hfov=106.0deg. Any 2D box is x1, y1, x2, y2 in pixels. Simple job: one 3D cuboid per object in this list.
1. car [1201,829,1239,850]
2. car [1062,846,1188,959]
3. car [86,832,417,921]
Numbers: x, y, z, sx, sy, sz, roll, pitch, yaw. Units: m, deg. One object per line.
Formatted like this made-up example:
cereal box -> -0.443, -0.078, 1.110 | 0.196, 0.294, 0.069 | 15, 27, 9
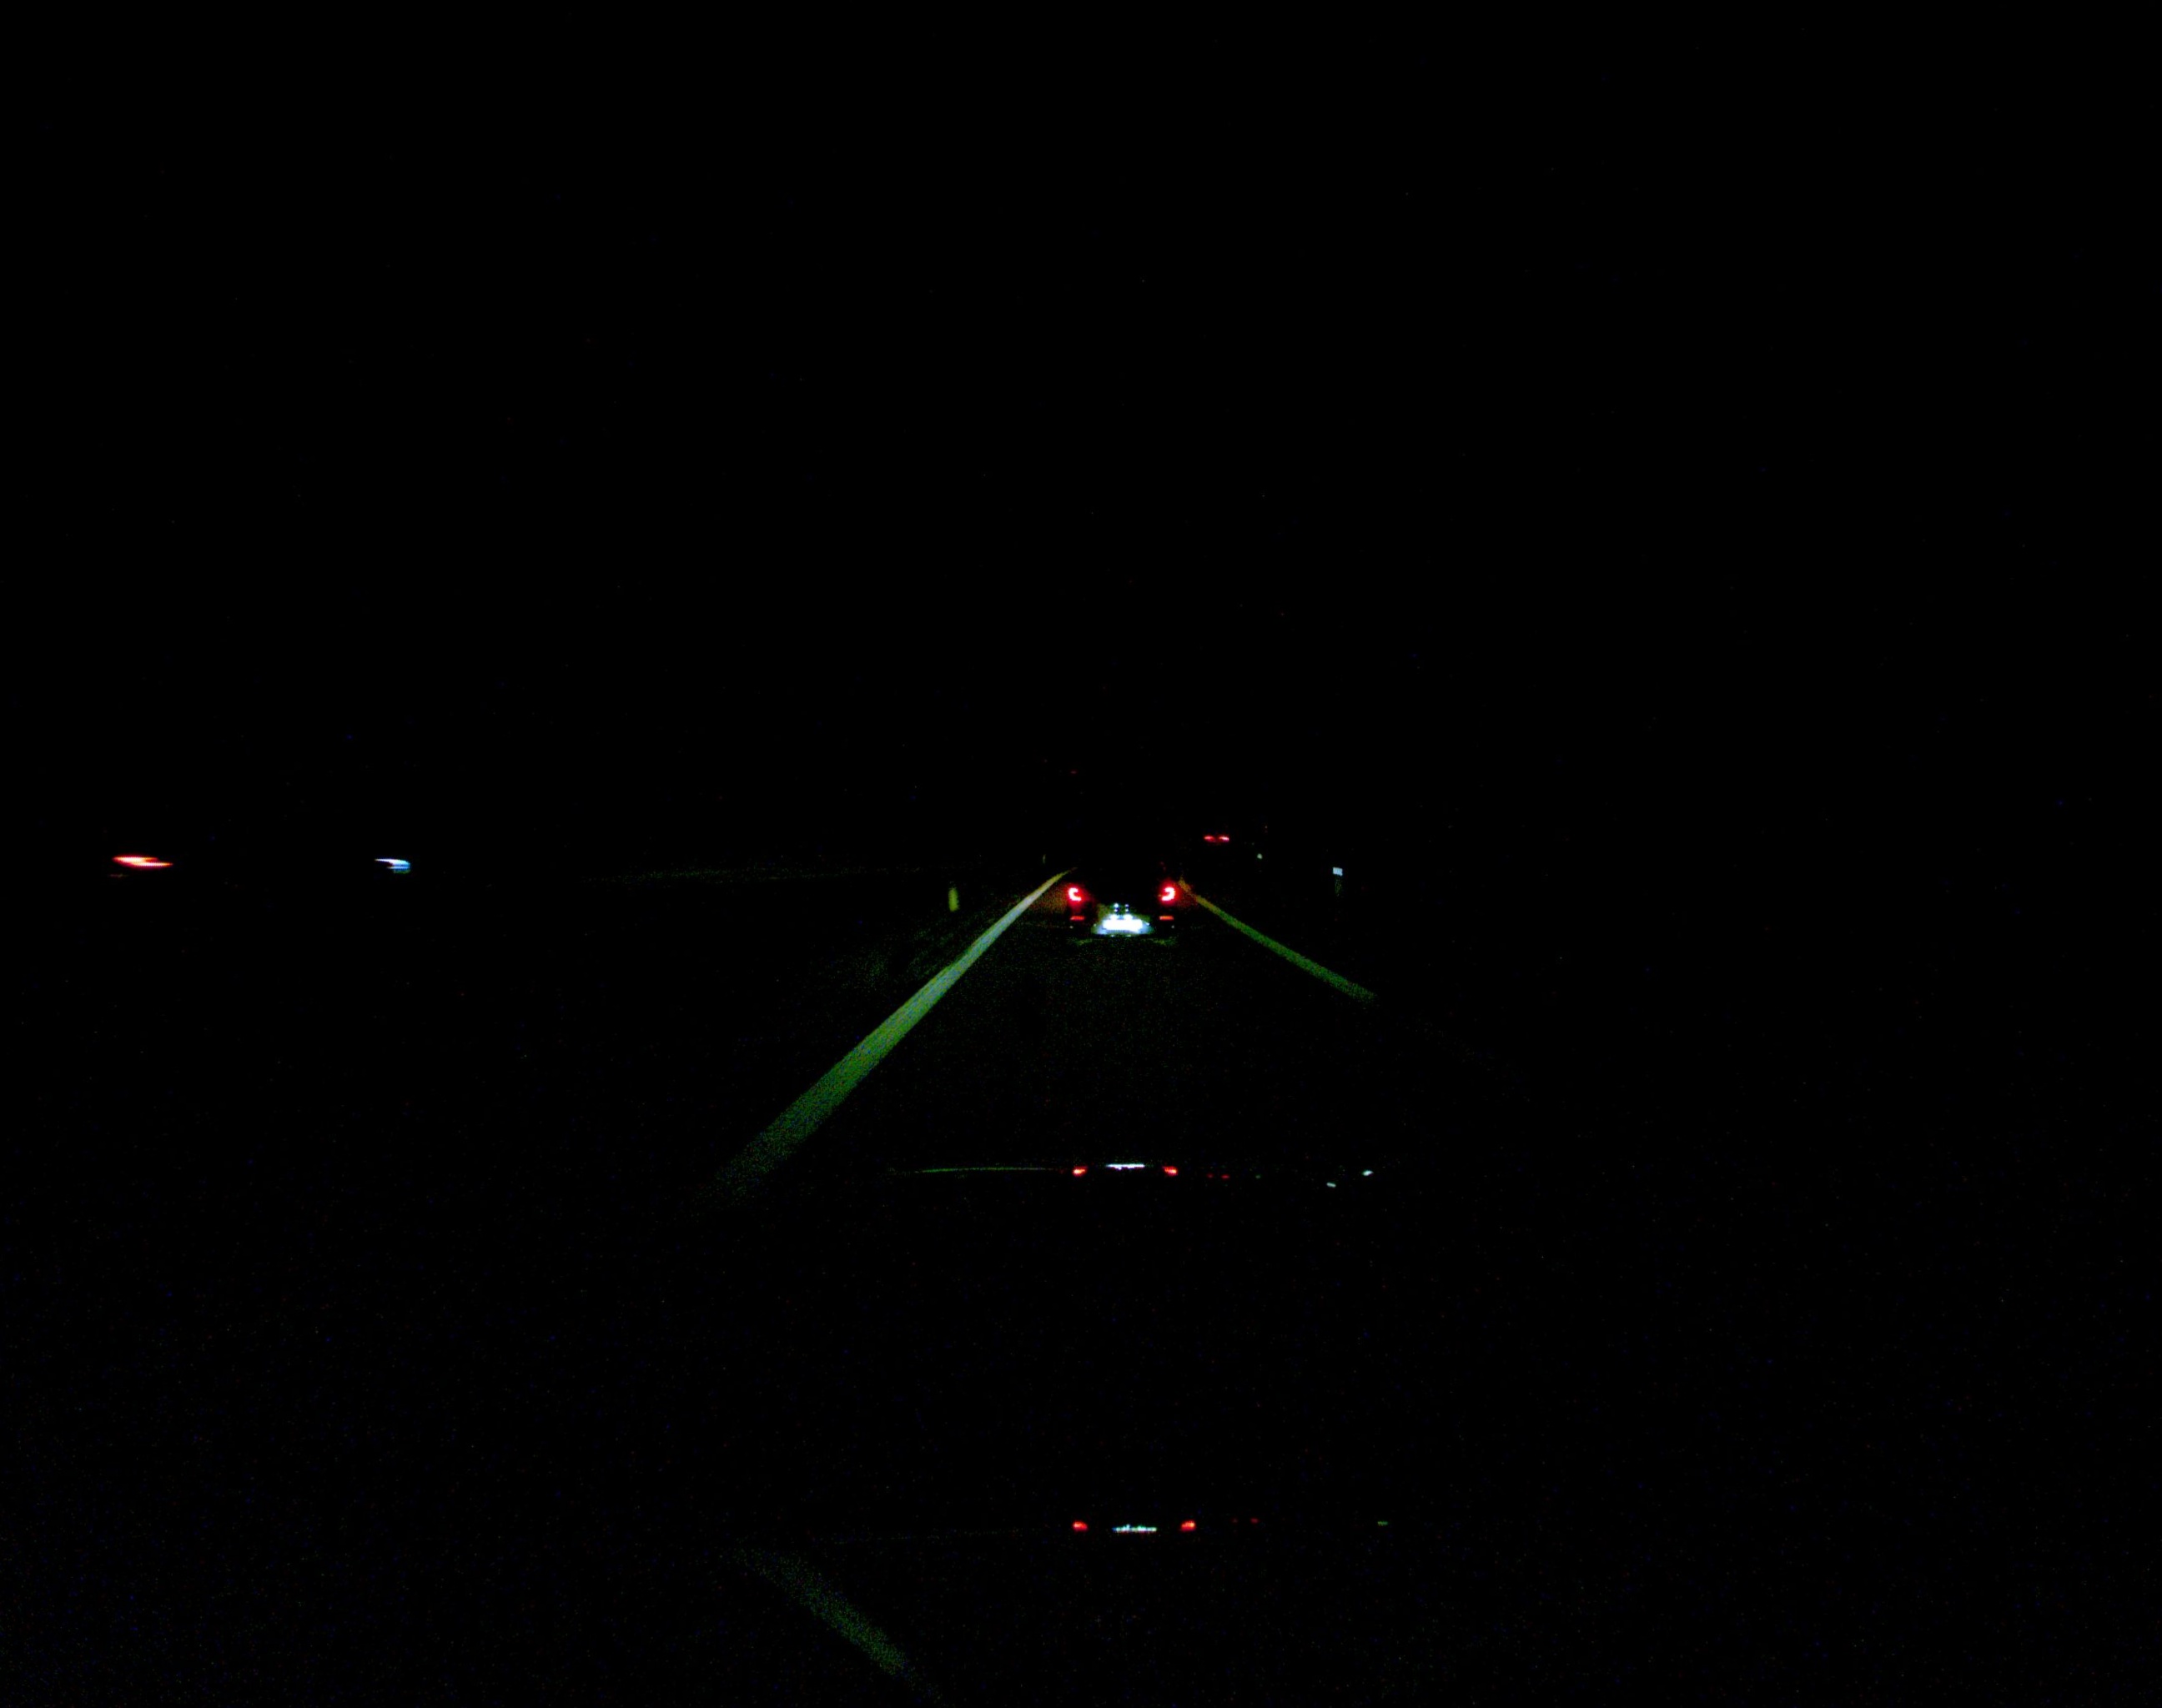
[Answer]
car -> 11.096, -1.136, 64.845 | 1.934, 1.538, 4.265 | -3, 0, 24
car -> 0.720, 0.635, 12.962 | 1.684, 1.477, 4.004 | -1, 1, 4
car -> -17.754, 0.348, 17.765 | 1.922, 1.608, 4.672 | 2, 2, 27
